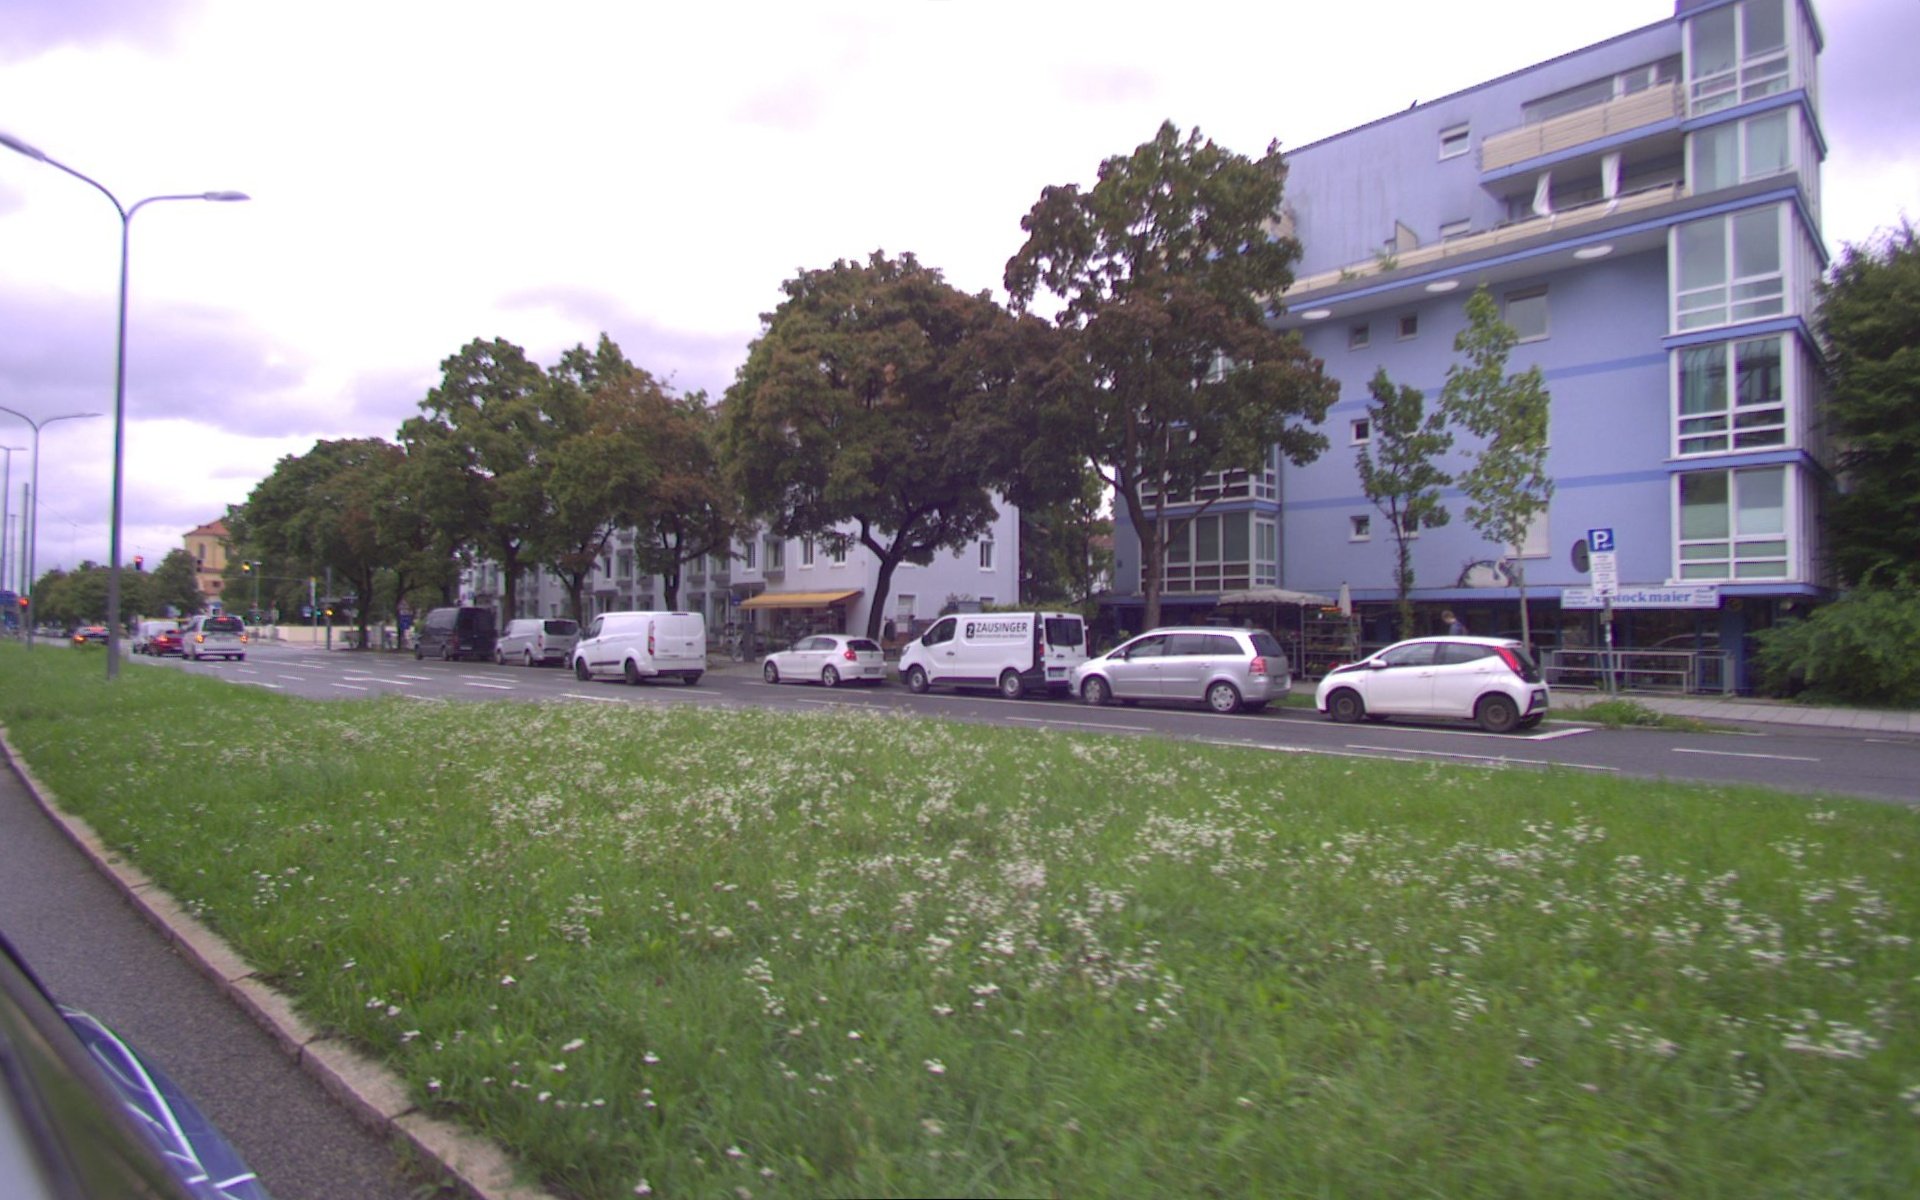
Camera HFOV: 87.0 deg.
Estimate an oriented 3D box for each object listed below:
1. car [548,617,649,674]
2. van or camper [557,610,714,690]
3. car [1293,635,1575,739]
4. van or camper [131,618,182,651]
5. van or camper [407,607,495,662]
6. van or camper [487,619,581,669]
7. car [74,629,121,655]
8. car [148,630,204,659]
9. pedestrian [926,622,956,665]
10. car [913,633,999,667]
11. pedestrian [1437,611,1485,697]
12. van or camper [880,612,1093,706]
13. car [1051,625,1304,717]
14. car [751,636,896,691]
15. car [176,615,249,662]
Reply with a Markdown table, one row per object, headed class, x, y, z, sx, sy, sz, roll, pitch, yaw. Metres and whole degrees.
| class | x | y | z | sx | sy | sz | roll | pitch | yaw |
| --- | --- | --- | --- | --- | --- | --- | --- | --- | --- |
| car | -13.602 | 1.684 | 37.932 | 1.776 | 2.013 | 4.548 | 2 | -3 | -45 |
| van or camper | -9.137 | 1.362 | 28.238 | 5.200 | 2.031 | 1.993 | -2 | -3 | 45 |
| car | 7.702 | 1.335 | 16.664 | 3.902 | 1.501 | 1.629 | -2 | -3 | 43 |
| van or camper | -46.093 | 1.985 | 58.036 | 1.771 | 1.811 | 4.127 | 2 | -3 | -45 |
| van or camper | -24.631 | 1.642 | 48.903 | 5.549 | 2.506 | 2.027 | -2 | -3 | 44 |
| van or camper | -17.828 | 1.824 | 42.244 | 1.997 | 1.957 | 4.706 | 2 | -3 | -45 |
| car | -49.335 | 2.381 | 57.865 | 3.674 | 1.459 | 1.737 | -2 | -3 | 45 |
| car | -40.435 | 2.272 | 52.174 | 3.674 | 1.459 | 1.771 | -2 | -3 | 45 |
| pedestrian | -0.724 | 1.670 | 38.723 | 0.968 | 1.615 | 0.762 | 0 | -2 | 19 |
| car | -0.140 | 2.187 | 44.661 | 1.549 | 1.431 | 3.945 | -2 | -3 | 41 |
| pedestrian | 10.835 | 1.163 | 21.895 | 0.780 | 1.819 | 0.635 | -2 | -3 | 43 |
| van or camper | 0.500 | 1.327 | 23.912 | 5.212 | 1.983 | 1.784 | -2 | -3 | 44 |
| car | 4.220 | 1.324 | 20.055 | 4.656 | 1.628 | 1.683 | -1 | -3 | 37 |
| car | -3.883 | 1.721 | 28.292 | 4.335 | 1.405 | 1.657 | -2 | -3 | 43 |
| car | -33.768 | 1.739 | 45.670 | 1.917 | 2.013 | 4.706 | 2 | -3 | -45 |
